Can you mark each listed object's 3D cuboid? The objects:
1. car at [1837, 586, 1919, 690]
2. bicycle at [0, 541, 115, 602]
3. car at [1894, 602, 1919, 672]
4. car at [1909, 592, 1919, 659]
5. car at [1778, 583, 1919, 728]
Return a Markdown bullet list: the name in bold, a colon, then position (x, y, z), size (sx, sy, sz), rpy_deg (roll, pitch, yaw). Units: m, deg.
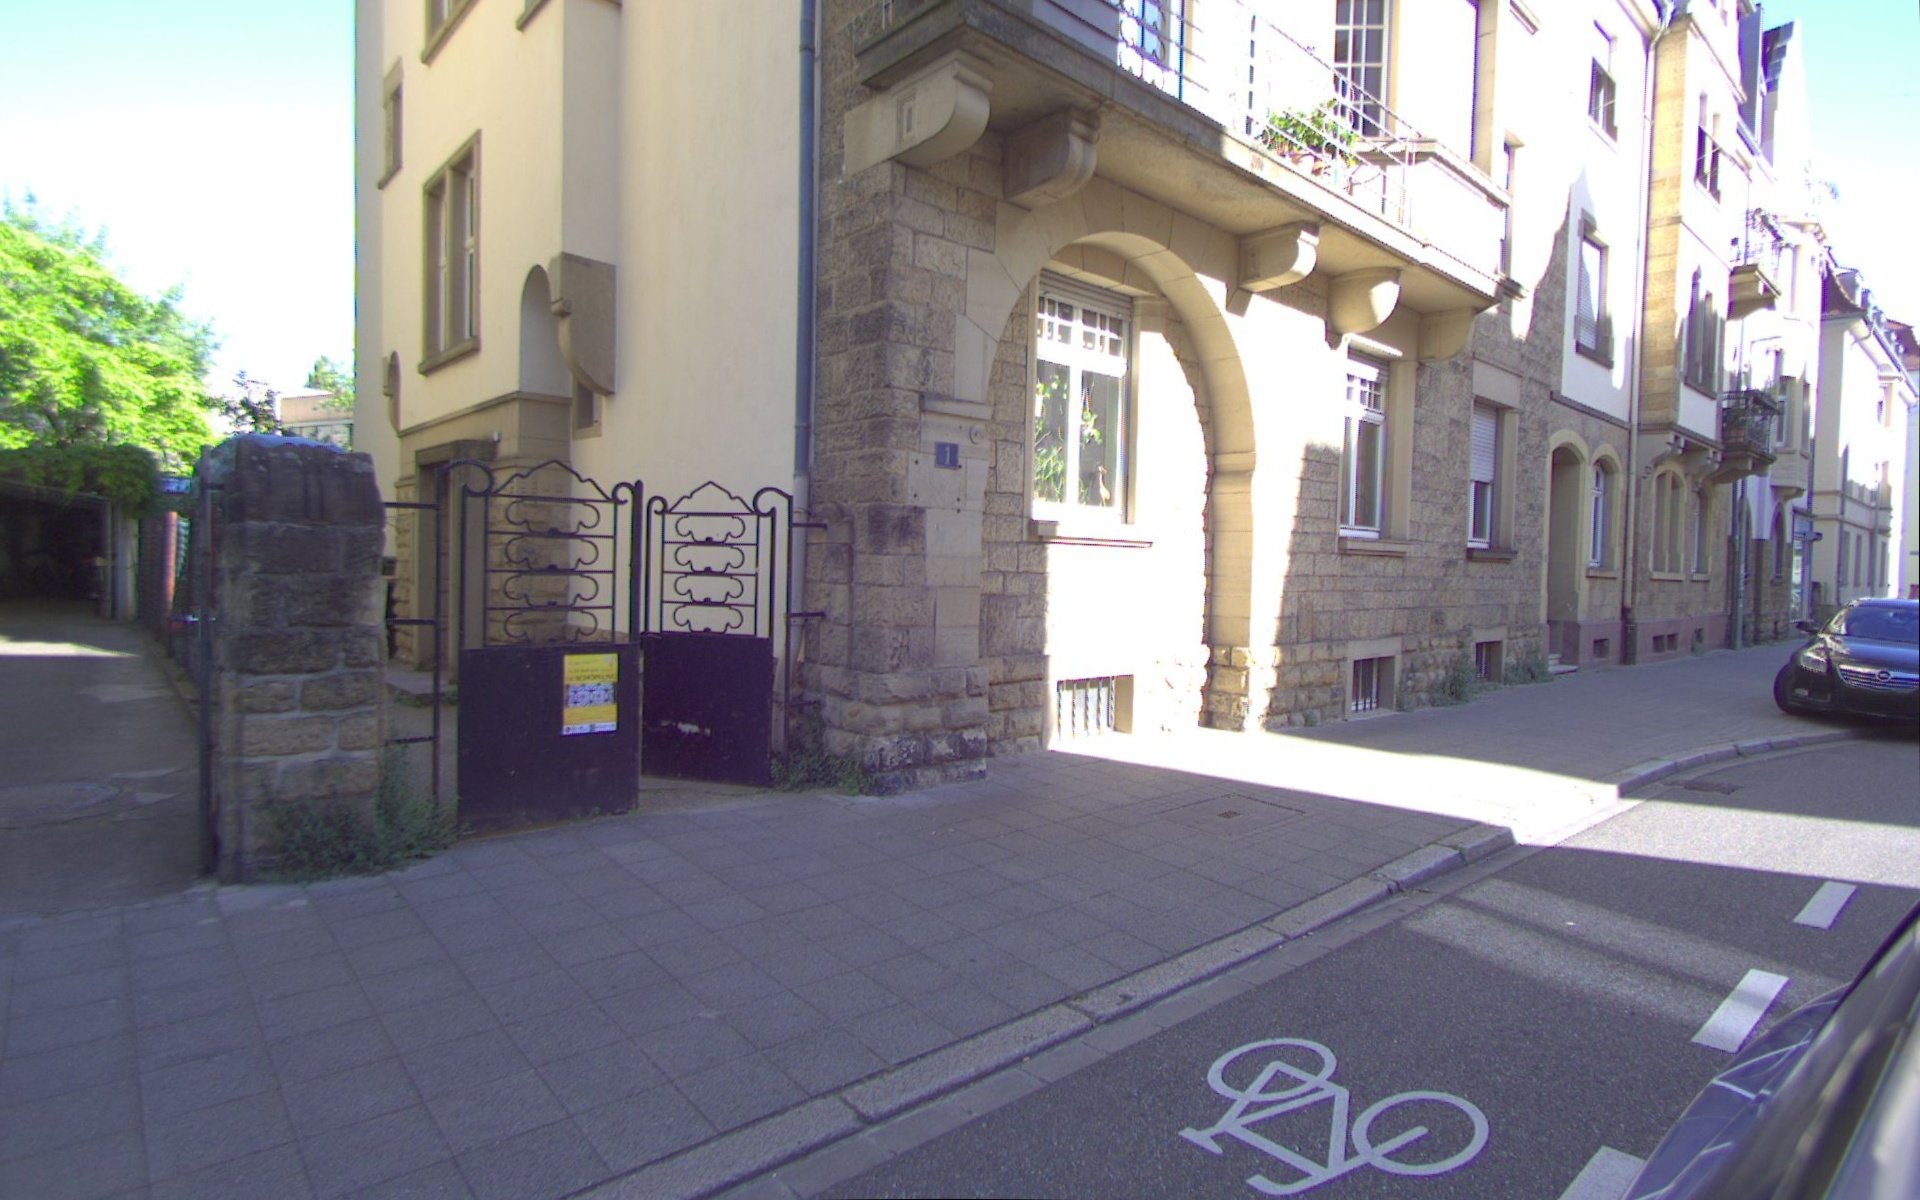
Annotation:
- **car**: position (15.404, 0.562, 16.136), size (4.186, 1.460, 1.654), rpy_deg (0, 3, -43)
- **bicycle**: position (-18.360, -0.604, 20.458), size (2.834, 1.124, 0.865), rpy_deg (3, 2, 25)
- **car**: position (19.362, 0.706, 19.581), size (3.876, 1.270, 1.694), rpy_deg (0, 1, -44)
- **car**: position (22.473, 0.573, 22.565), size (1.787, 1.447, 3.746), rpy_deg (3, 2, 44)
- **car**: position (11.503, 0.581, 12.228), size (4.265, 1.480, 1.869), rpy_deg (0, 3, -42)
